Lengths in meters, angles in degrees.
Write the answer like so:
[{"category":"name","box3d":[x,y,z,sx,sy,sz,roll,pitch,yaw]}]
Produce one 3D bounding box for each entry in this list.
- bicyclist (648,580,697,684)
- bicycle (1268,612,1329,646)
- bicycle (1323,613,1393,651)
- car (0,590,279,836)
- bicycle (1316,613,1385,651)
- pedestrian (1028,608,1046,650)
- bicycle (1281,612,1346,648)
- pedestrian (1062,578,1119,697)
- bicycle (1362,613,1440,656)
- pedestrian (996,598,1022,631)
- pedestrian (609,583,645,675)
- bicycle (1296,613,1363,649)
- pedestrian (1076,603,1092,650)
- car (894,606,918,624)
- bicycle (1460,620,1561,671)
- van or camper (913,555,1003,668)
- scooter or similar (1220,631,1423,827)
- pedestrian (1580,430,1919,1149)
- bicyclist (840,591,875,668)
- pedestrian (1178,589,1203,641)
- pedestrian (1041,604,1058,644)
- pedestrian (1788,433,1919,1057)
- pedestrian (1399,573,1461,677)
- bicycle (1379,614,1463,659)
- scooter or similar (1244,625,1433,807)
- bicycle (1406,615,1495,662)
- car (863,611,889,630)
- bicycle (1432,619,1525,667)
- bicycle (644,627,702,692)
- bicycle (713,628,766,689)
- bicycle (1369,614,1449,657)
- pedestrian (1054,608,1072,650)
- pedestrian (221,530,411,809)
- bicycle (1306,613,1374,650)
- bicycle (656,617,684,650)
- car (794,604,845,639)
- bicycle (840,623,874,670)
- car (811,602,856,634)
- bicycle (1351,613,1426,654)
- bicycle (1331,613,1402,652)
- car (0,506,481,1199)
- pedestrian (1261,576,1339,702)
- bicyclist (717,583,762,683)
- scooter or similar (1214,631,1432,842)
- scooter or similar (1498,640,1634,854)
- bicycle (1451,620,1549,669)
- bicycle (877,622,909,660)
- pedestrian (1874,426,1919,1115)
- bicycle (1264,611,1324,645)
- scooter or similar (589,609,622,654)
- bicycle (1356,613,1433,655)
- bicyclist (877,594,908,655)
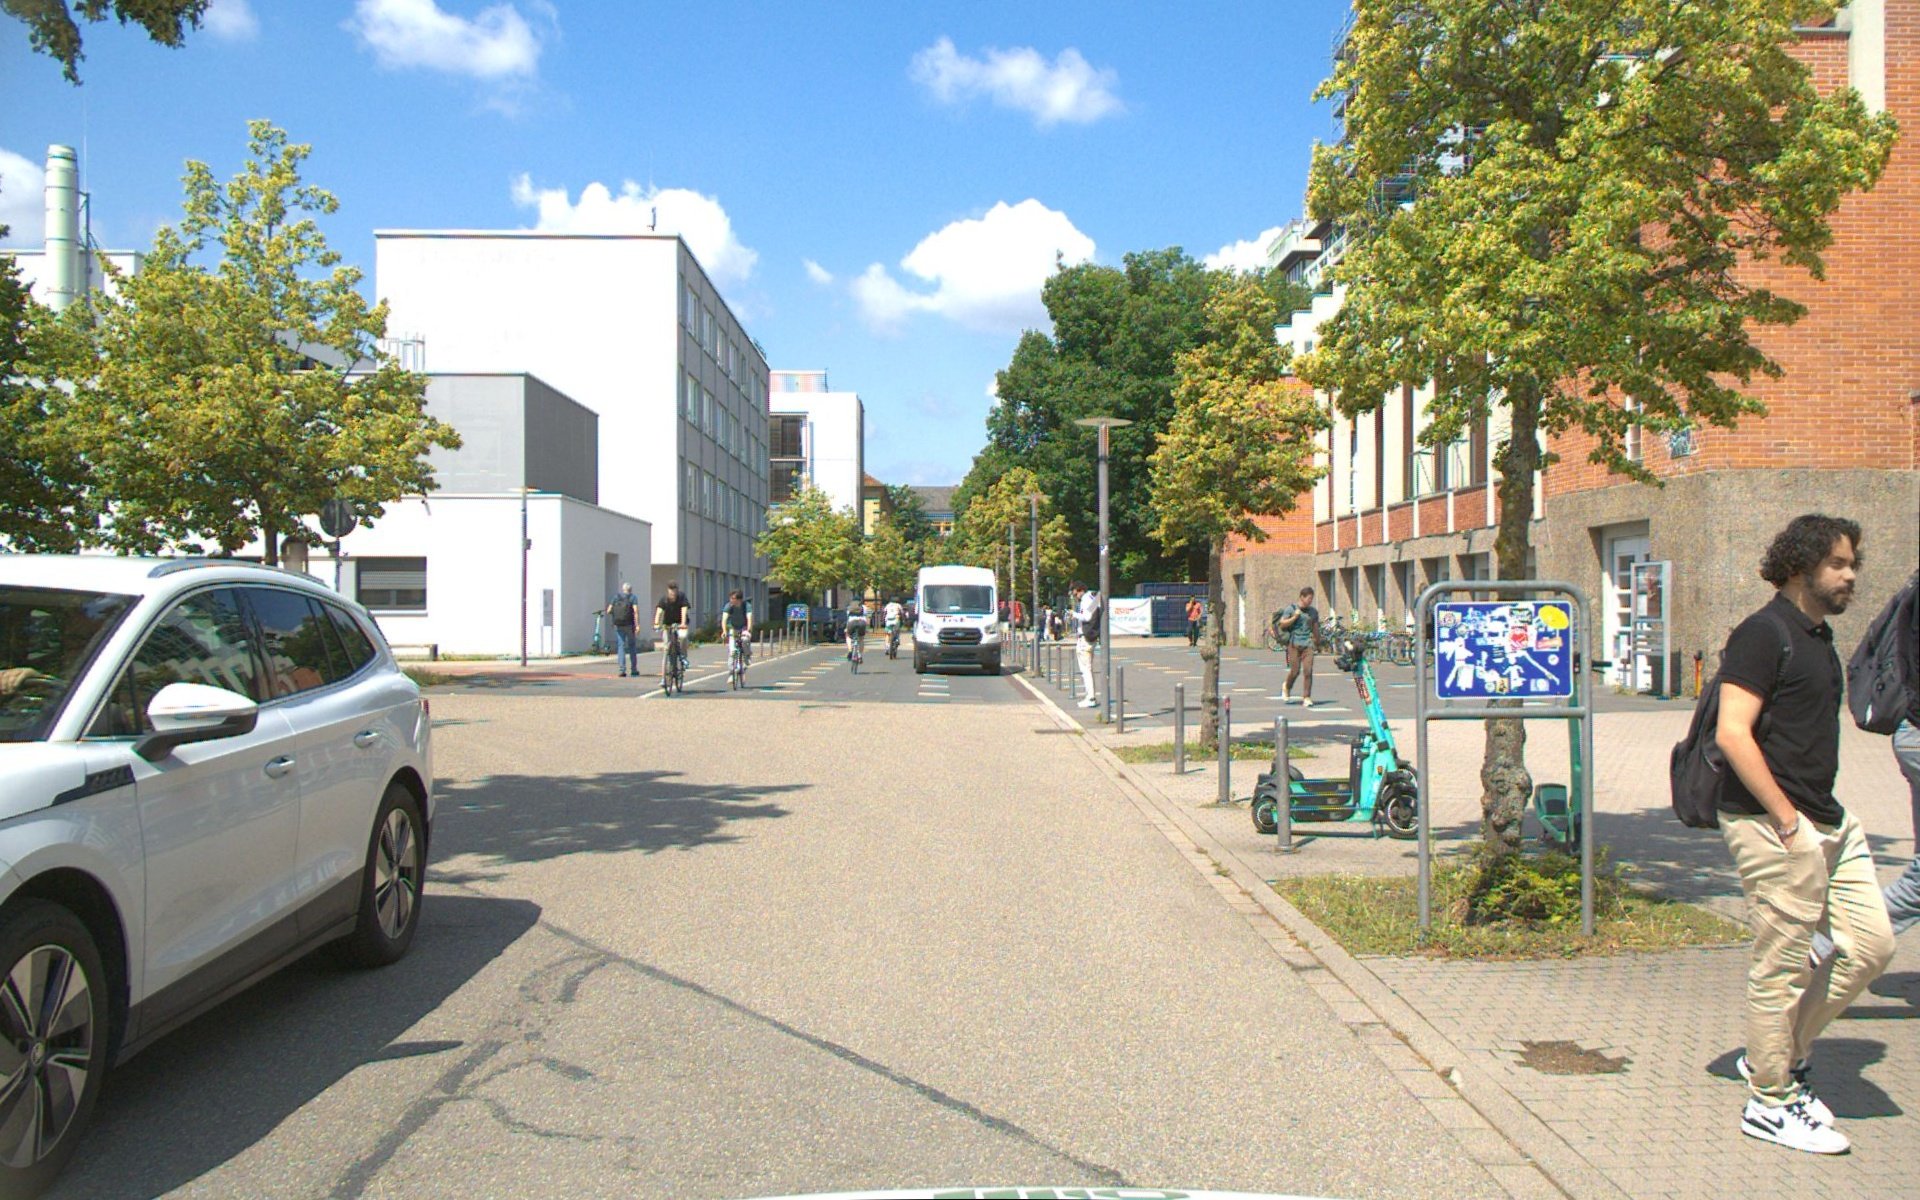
[{"category":"bicyclist","box3d":[-4.645,0.509,26.758,0.630,1.629,0.908,-1,0,-2]},{"category":"bicycle","box3d":[10.514,0.888,51.410,1.772,1.002,0.560,-2,0,-2]},{"category":"bicycle","box3d":[10.980,0.874,45.622,1.772,1.002,0.560,-2,0,-2]},{"category":"car","box3d":[-5.969,0.620,10.529,1.611,1.323,3.927,0,0,0]},{"category":"bicycle","box3d":[10.891,0.885,46.208,1.772,1.002,0.560,-2,0,-2]},{"category":"pedestrian","box3d":[3.538,1.337,75.838,0.774,1.892,1.243,0,0,0]},{"category":"bicycle","box3d":[10.481,0.887,49.073,1.772,1.002,0.560,-2,0,-2]},{"category":"pedestrian","box3d":[1.960,0.559,24.982,0.688,1.724,0.962,-3,-1,0]},{"category":"bicycle","box3d":[10.983,0.859,41.235,1.772,1.002,0.560,-2,0,-2]},{"category":"pedestrian","box3d":[3.091,0.914,105.065,1.470,2.031,1.645,-3,0,-3]},{"category":"pedestrian","box3d":[-6.667,0.579,33.061,0.655,1.817,0.981,1,-2,-14]},{"category":"bicycle","box3d":[10.609,0.886,47.541,1.772,1.002,0.560,-2,0,-2]},{"category":"pedestrian","box3d":[5.014,1.079,67.057,0.564,1.892,0.569,0,-1,-3]},{"category":"car","box3d":[-4.611,1.283,141.566,1.758,1.557,4.002,0,0,3]},{"category":"bicycle","box3d":[10.797,0.887,32.454,1.772,0.928,0.560,-1,0,-2]},{"category":"van or camper","box3d":[-0.110,0.303,39.199,1.953,2.489,4.567,1,-1,-2]},{"category":"scooter or similar","box3d":[2.521,0.867,11.554,1.237,1.287,0.649,-1,-1,31]},{"category":"pedestrian","box3d":[2.204,0.481,4.675,0.784,1.803,0.855,-1,0,19]},{"category":"bicyclist","box3d":[-2.313,0.668,37.314,0.703,1.691,1.094,2,-2,-5]},{"category":"pedestrian","box3d":[8.500,0.545,60.940,0.833,1.892,1.117,-1,0,11]},{"category":"pedestrian","box3d":[4.287,1.162,79.059,0.774,1.892,1.026,0,0,0]},{"category":"pedestrian","box3d":[3.339,0.463,5.619,0.809,2.015,0.692,-1,0,19]},{"category":"pedestrian","box3d":[8.748,0.459,30.824,0.774,1.892,1.115,0,0,-4]},{"category":"bicycle","box3d":[10.692,0.842,38.395,1.772,1.002,0.560,-2,0,-2]},{"category":"scooter or similar","box3d":[2.827,0.837,12.372,1.237,1.287,0.638,-1,-1,31]},{"category":"bicycle","box3d":[10.867,0.849,36.668,1.772,1.002,0.560,-2,0,-2]},{"category":"car","box3d":[-7.199,1.730,142.071,1.758,1.557,4.002,0,0,3]},{"category":"bicycle","box3d":[10.876,0.899,34.717,1.772,0.928,0.560,-2,0,-2]},{"category":"bicycle","box3d":[-4.648,0.953,26.846,0.663,0.982,2.002,1,0,-3]},{"category":"bicycle","box3d":[-3.835,1.004,28.872,0.663,0.981,2.002,1,0,-1]},{"category":"bicycle","box3d":[11.026,0.862,40.634,1.772,1.002,0.560,-2,0,-2]},{"category":"pedestrian","box3d":[4.692,1.313,75.608,0.774,1.892,1.026,0,0,0]},{"category":"pedestrian","box3d":[-4.687,0.500,12.137,0.995,1.937,1.177,1,-1,-7]},{"category":"bicycle","box3d":[10.740,0.887,46.813,1.772,1.002,0.560,-2,0,-2]},{"category":"bicycle","box3d":[-9.378,1.080,53.553,0.512,1.002,1.633,-2,0,3]},{"category":"car","box3d":[-6.387,0.980,75.681,1.758,1.557,4.002,0,0,3]},{"category":"bicycle","box3d":[-2.350,1.058,37.538,0.693,1.011,1.908,2,-2,-5]},{"category":"car","box3d":[-6.336,0.896,83.096,1.758,1.557,4.002,0,0,3]},{"category":"bicycle","box3d":[10.995,0.862,42.465,1.772,1.002,0.560,-2,0,-2]},{"category":"bicycle","box3d":[11.069,0.870,45.012,1.772,1.002,0.560,-2,0,-2]},{"category":"car","box3d":[-3.135,0.606,5.346,1.879,1.647,4.518,3,-1,-2]},{"category":"pedestrian","box3d":[4.878,0.546,23.792,0.836,1.763,1.160,0,0,-3]},{"category":"bicyclist","box3d":[-3.836,0.571,28.860,0.654,1.711,0.992,-1,-1,-2]},{"category":"scooter or similar","box3d":[2.362,0.849,10.778,1.237,1.287,0.649,-1,-1,31]},{"category":"scooter or similar","box3d":[3.643,0.846,10.019,0.635,1.181,1.265,-1,0,14]},{"category":"bicycle","box3d":[10.861,0.884,33.311,1.772,0.928,0.560,-1,0,-2]},{"category":"bicycle","box3d":[-2.016,1.227,50.226,0.791,1.019,2.125,1,2,2]},{"category":"pedestrian","box3d":[3.228,0.488,4.741,0.610,2.015,0.819,0,-2,-32]},{"category":"bicycle","box3d":[10.571,0.879,52.375,1.772,1.002,0.560,-2,0,-2]},{"category":"scooter or similar","box3d":[-9.899,0.874,46.212,0.369,1.238,1.206,-1,0,15]},{"category":"bicycle","box3d":[10.989,0.856,41.823,1.772,1.002,0.560,-2,0,-2]},{"category":"bicyclist","box3d":[-2.051,0.741,50.361,0.755,1.786,0.848,4,0,2]}]
